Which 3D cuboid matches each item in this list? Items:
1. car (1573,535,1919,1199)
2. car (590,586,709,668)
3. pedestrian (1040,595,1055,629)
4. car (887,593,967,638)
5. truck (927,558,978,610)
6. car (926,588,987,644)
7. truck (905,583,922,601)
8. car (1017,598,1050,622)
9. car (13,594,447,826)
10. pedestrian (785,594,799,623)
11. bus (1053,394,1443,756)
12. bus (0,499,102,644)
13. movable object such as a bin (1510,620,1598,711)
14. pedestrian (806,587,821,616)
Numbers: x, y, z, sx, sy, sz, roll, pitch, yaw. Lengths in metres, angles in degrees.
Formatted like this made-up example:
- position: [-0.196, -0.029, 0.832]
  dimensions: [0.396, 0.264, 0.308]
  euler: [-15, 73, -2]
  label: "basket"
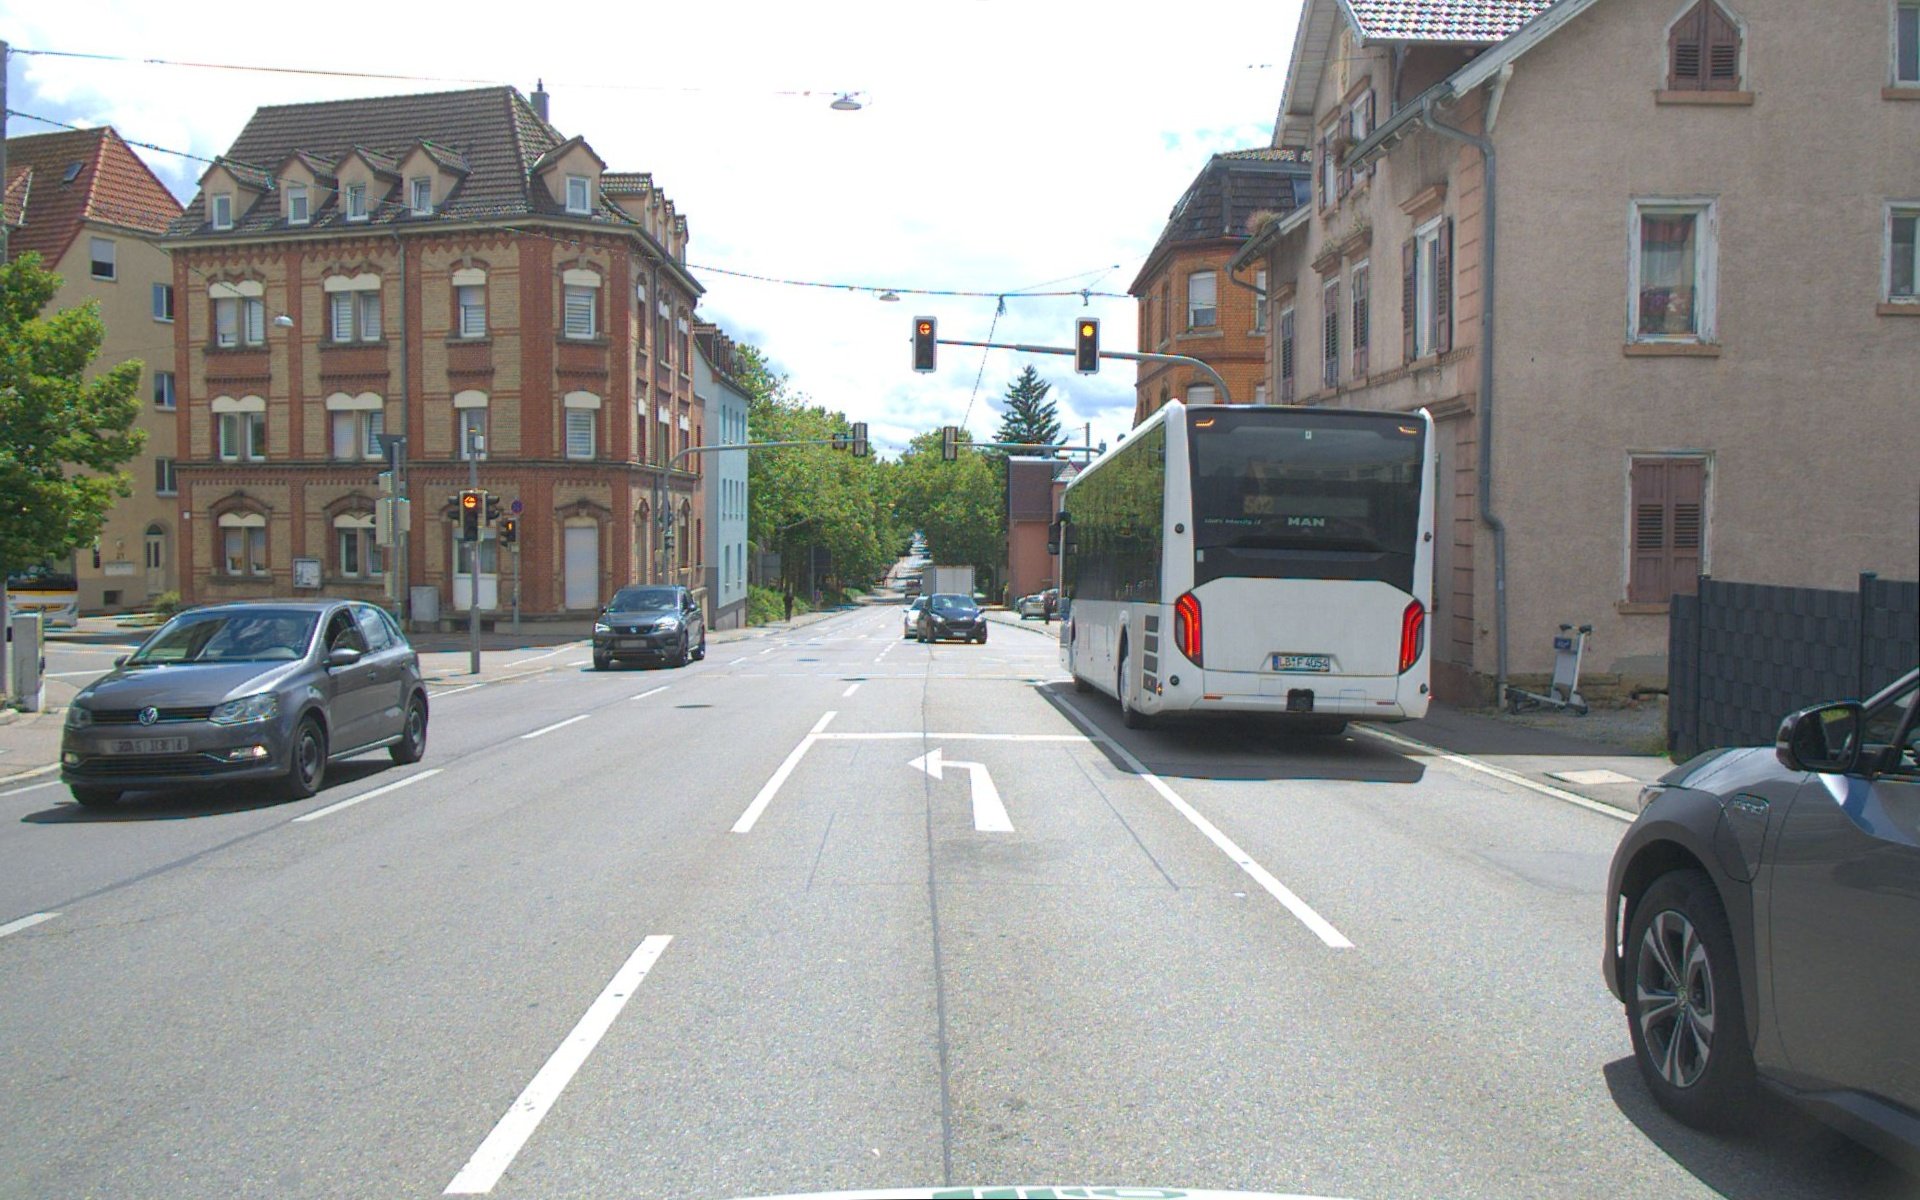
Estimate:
- position: [3.052, 0.708, 3.221]
  dimensions: [1.880, 1.641, 4.683]
  euler: [1, 1, -1]
  label: "car"
- position: [-6.219, 0.490, 33.523]
  dimensions: [1.723, 1.548, 3.957]
  euler: [0, 1, -1]
  label: "car"
- position: [4.740, 0.652, 89.713]
  dimensions: [0.723, 1.781, 0.619]
  euler: [-1, 0, -1]
  label: "pedestrian"
- position: [-1.071, 0.502, 55.885]
  dimensions: [1.662, 1.452, 4.003]
  euler: [-1, 0, 15]
  label: "car"
- position: [-0.539, -1.042, 105.451]
  dimensions: [2.868, 3.135, 7.881]
  euler: [-1, 0, -3]
  label: "truck"
- position: [-0.127, 0.434, 48.614]
  dimensions: [1.723, 1.543, 3.793]
  euler: [-1, 1, -1]
  label: "car"
- position: [-5.470, -0.893, 193.632]
  dimensions: [1.953, 2.049, 3.999]
  euler: [1, 0, -1]
  label: "truck"
- position: [4.662, 0.624, 104.878]
  dimensions: [1.758, 1.434, 3.999]
  euler: [-1, 1, -2]
  label: "car"
- position: [-5.455, 0.730, 12.917]
  dimensions: [1.723, 1.437, 3.733]
  euler: [-2, 1, -1]
  label: "car"
- position: [-9.320, 0.464, 91.828]
  dimensions: [0.714, 1.592, 0.560]
  euler: [0, 0, -2]
  label: "pedestrian"
- position: [2.932, -0.266, 21.031]
  dimensions: [2.618, 3.211, 12.460]
  euler: [-1, 0, -1]
  label: "bus"
- position: [-29.231, -0.909, 45.842]
  dimensions: [11.979, 3.684, 2.770]
  euler: [2, 1, 24]
  label: "bus"
- position: [7.040, 0.772, 19.645]
  dimensions: [0.760, 1.030, 0.749]
  euler: [-1, 0, -1]
  label: "movable object such as a bin"
- position: [-10.450, 0.134, 118.011]
  dimensions: [0.974, 2.049, 1.188]
  euler: [0, 0, -1]
  label: "pedestrian"
